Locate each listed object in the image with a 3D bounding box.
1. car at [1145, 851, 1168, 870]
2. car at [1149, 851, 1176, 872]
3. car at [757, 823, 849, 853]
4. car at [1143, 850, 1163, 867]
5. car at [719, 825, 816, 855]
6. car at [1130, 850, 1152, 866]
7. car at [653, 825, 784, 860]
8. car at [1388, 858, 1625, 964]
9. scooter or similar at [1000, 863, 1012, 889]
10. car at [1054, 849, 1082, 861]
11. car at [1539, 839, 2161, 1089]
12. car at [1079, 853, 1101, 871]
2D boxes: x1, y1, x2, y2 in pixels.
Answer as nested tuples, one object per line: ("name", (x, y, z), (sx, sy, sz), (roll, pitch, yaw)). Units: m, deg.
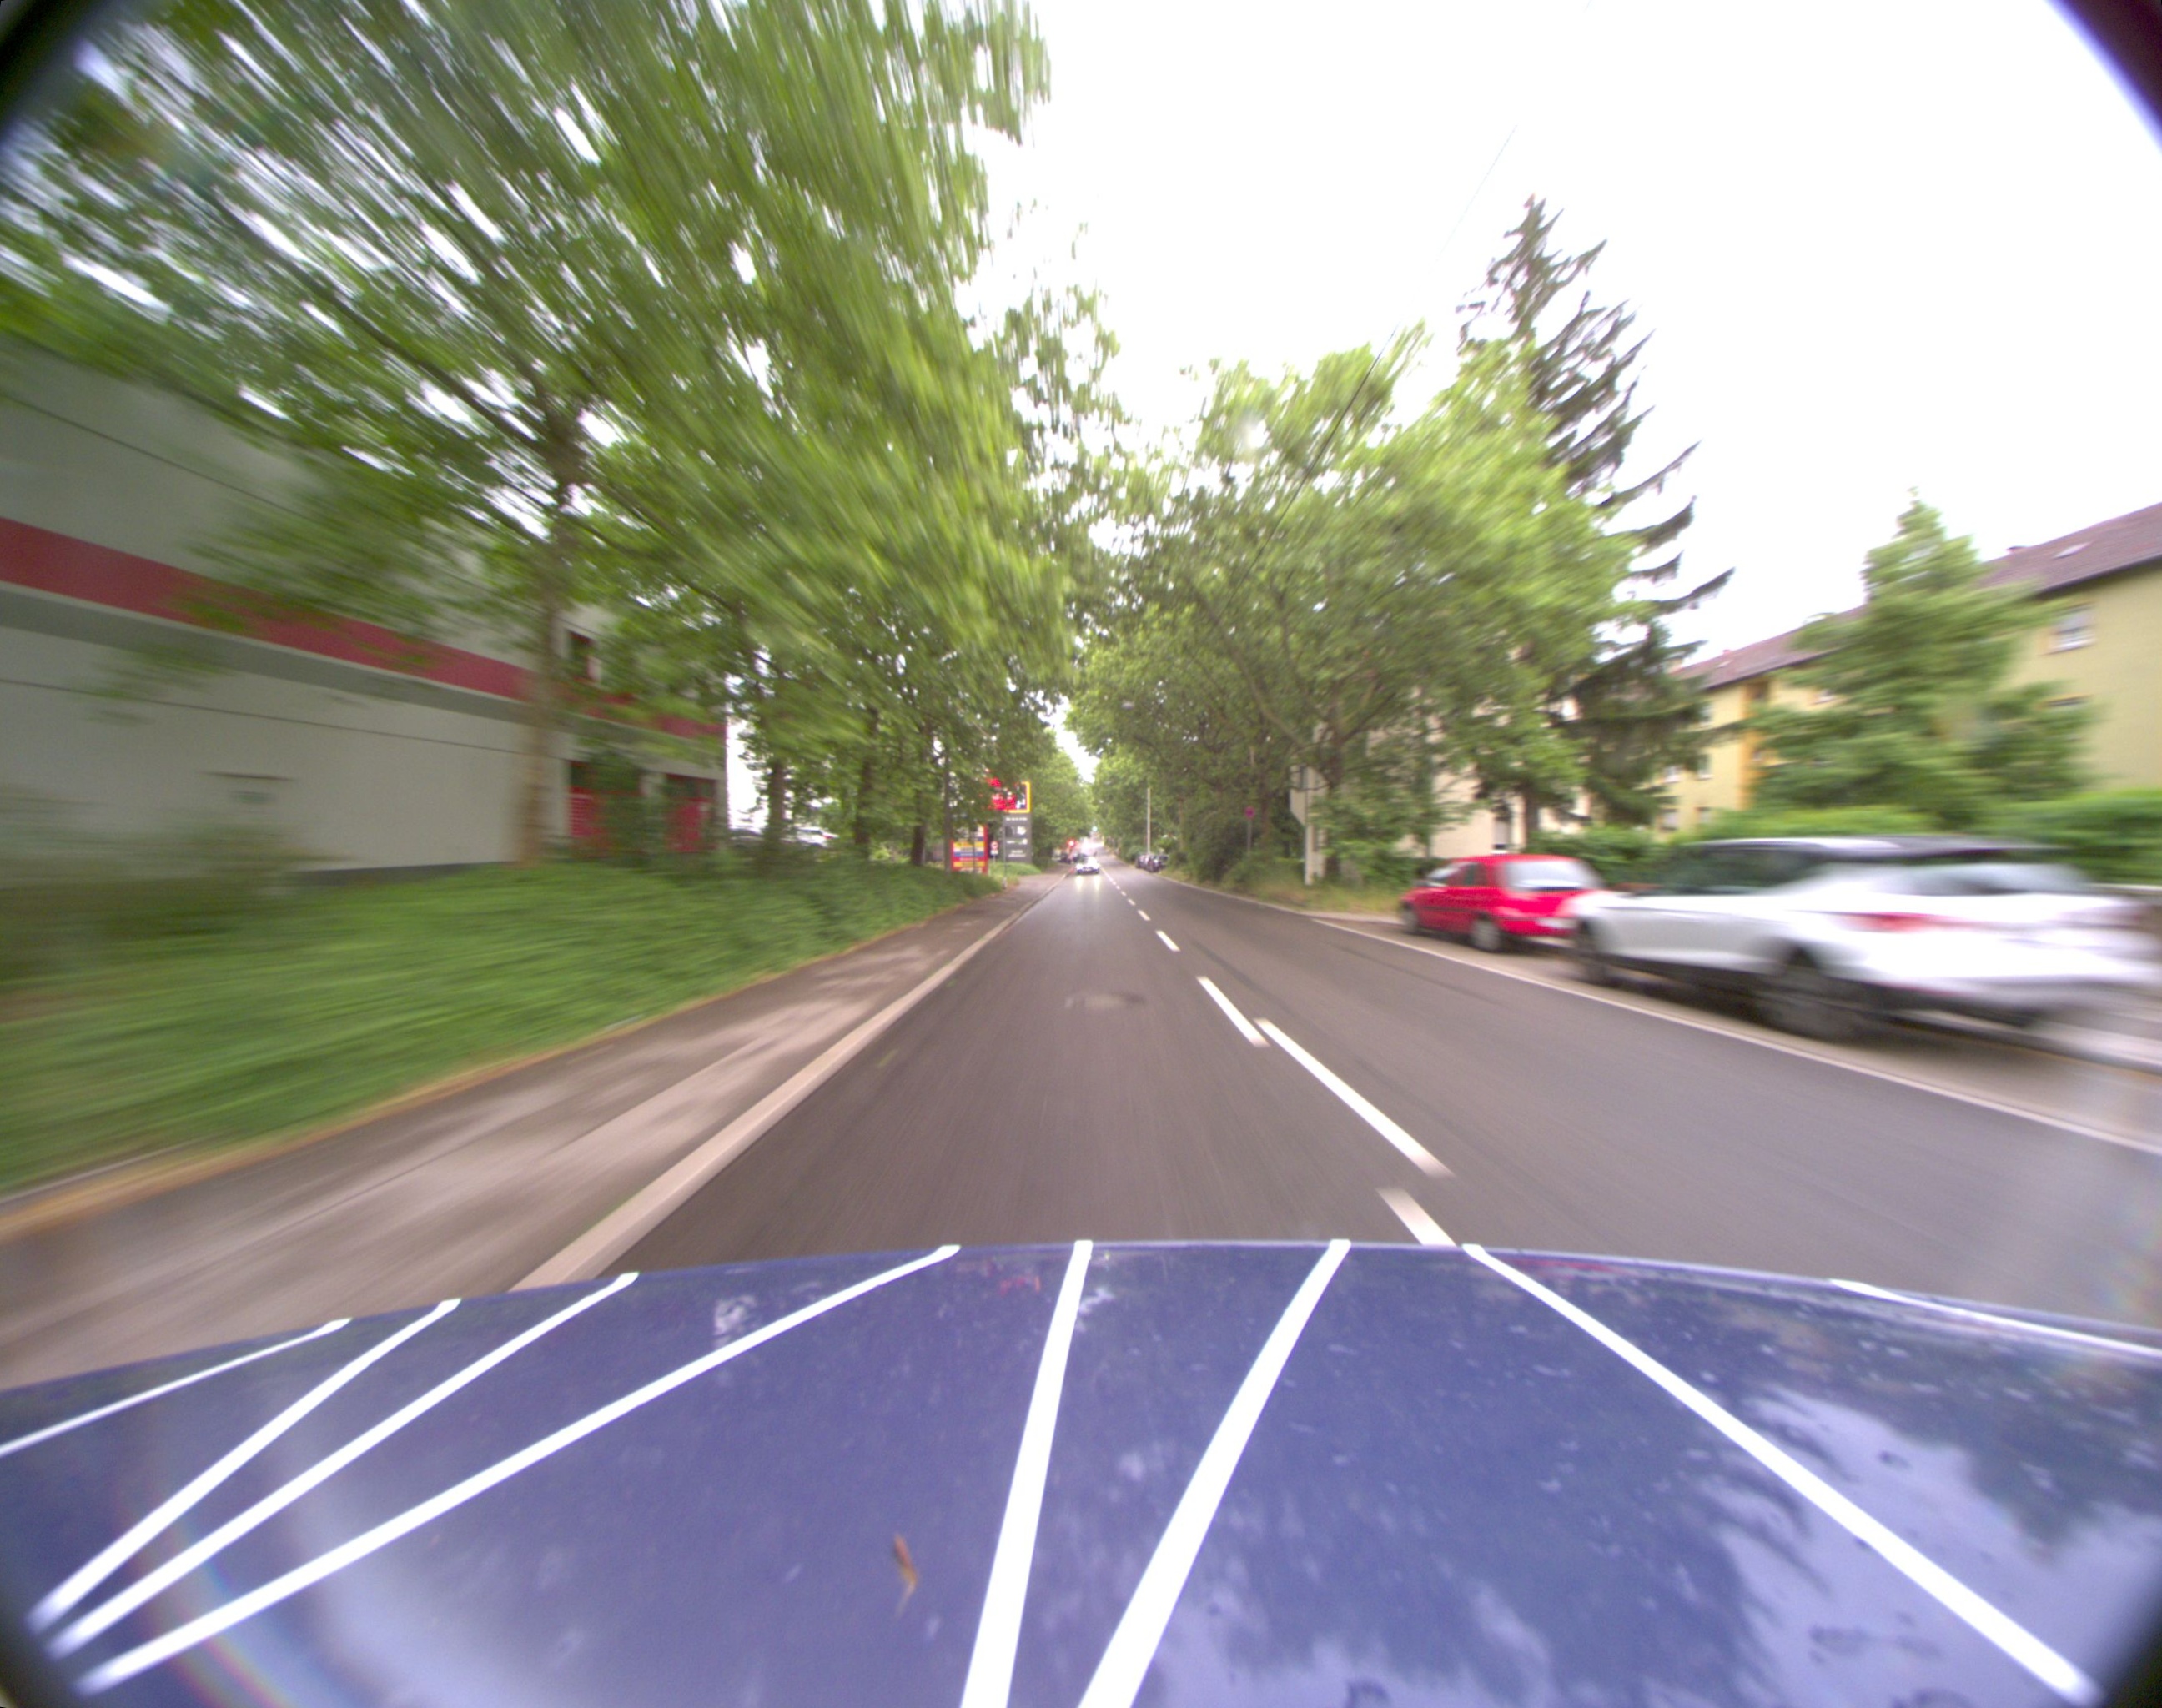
("car", (6.568, 0.533, 66.327), (1.676, 1.499, 3.873), (2, 1, 1))
("car", (6.506, 0.541, 61.183), (1.652, 1.529, 4.018), (3, 1, 0))
("car", (-14.553, -0.835, 39.935), (4.111, 1.368, 1.902), (-2, 1, 0))
("car", (6.811, 0.416, 72.086), (1.676, 1.499, 4.123), (-2, 1, 2))
("car", (-15.277, -0.682, 37.141), (3.928, 1.286, 1.833), (-2, 1, 2))
("car", (6.002, 0.374, 76.495), (1.869, 1.582, 4.238), (1, 1, -1))
("car", (-15.139, -0.472, 31.879), (4.621, 1.326, 1.801), (-1, 0, 1))
("car", (6.541, 0.786, 12.208), (1.643, 1.365, 3.758), (-1, 0, -1))
("scooter or similar", (-3.584, 1.024, 36.409), (0.426, 1.135, 1.528), (-3, 3, -1))
("car", (-1.844, 0.113, 106.587), (3.860, 1.538, 2.025), (0, 1, -5))
("car", (6.216, 0.717, 6.858), (1.695, 1.533, 4.118), (2, 0, 1))
("car", (0.737, 0.667, 63.748), (1.692, 1.334, 3.998), (-1, 2, -2))
